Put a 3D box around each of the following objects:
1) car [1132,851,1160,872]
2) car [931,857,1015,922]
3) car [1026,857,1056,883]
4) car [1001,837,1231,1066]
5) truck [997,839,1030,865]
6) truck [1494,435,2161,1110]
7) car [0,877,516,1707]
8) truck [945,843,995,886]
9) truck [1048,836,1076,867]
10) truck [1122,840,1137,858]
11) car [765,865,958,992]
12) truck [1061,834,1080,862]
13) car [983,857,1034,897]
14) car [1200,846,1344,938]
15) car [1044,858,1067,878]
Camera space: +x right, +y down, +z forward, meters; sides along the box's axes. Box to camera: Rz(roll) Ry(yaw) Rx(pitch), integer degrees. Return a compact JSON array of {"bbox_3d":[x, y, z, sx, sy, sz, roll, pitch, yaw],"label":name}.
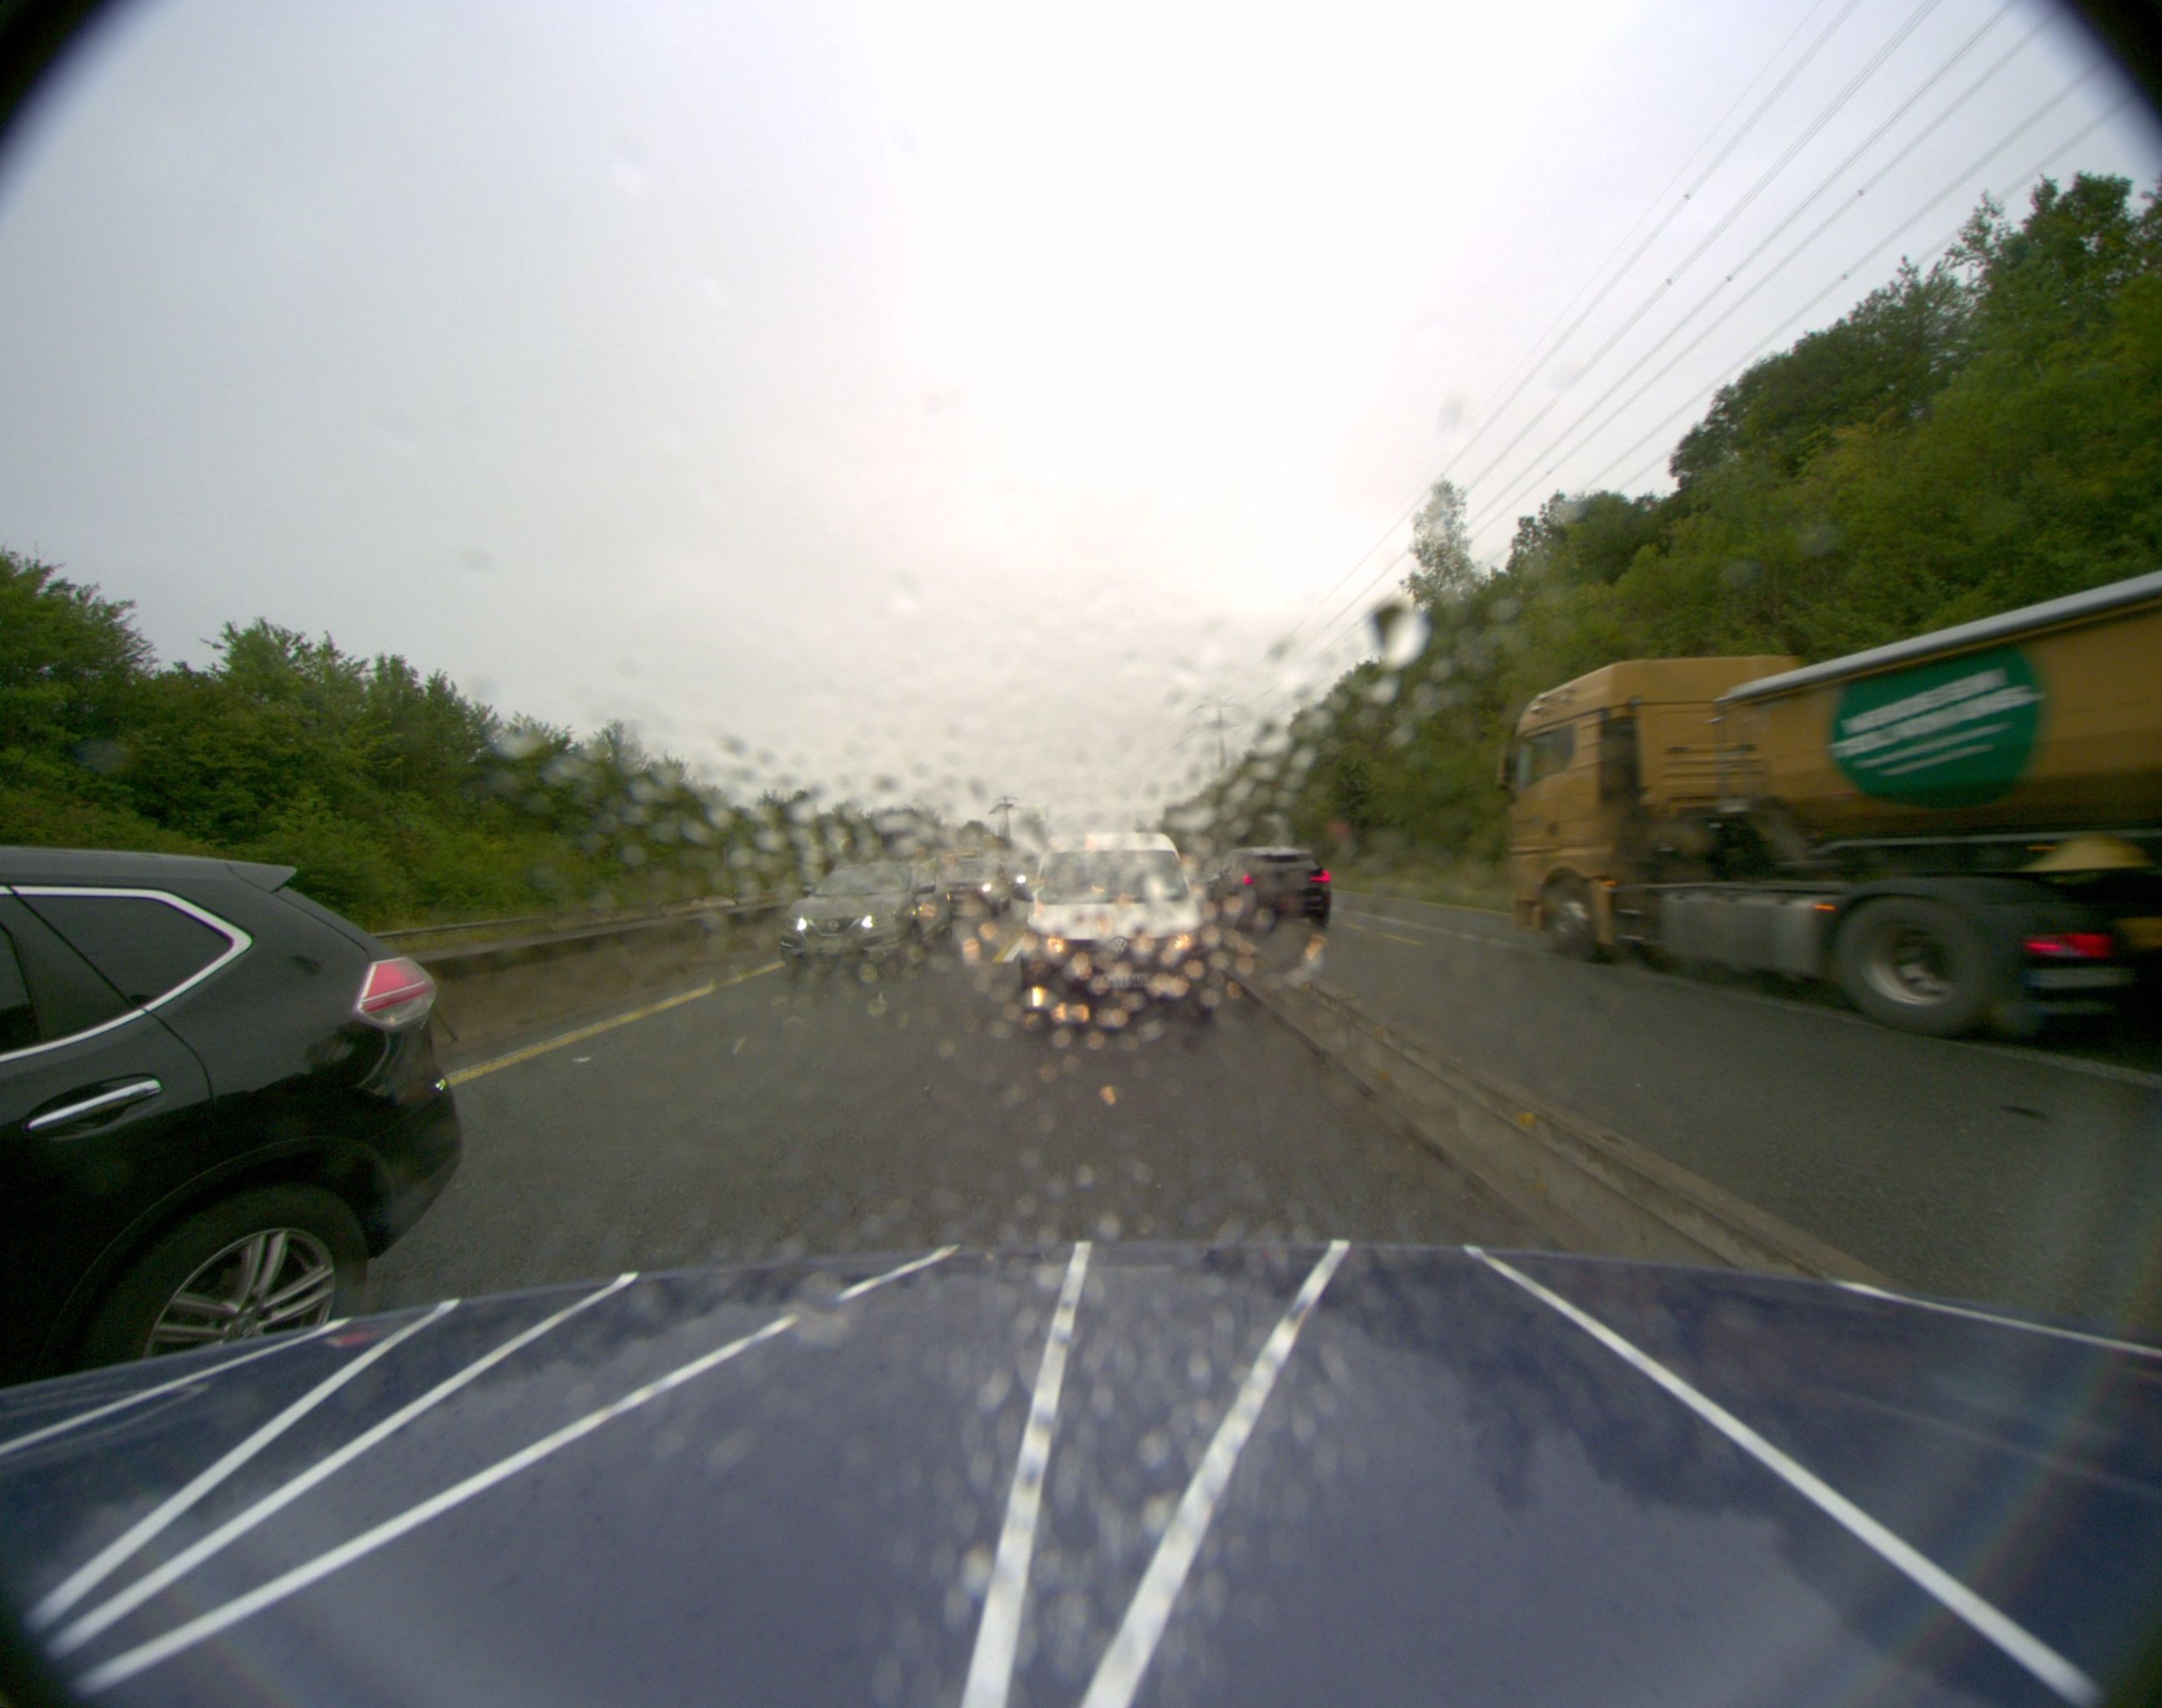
[{"bbox_3d":[4.946,0.572,58.280,1.784,1.435,4.327,-2,1,0],"label":"car"},{"bbox_3d":[-3.001,0.929,21.865,1.784,1.589,4.123,-2,1,0],"label":"car"},{"bbox_3d":[-2.597,1.024,50.211,1.784,1.482,4.123,-2,1,0],"label":"car"},{"bbox_3d":[0.270,0.761,8.439,1.784,1.775,4.697,-2,1,0],"label":"car"},{"bbox_3d":[-9.315,-0.289,106.514,3.329,3.404,9.575,-2,1,2],"label":"truck"},{"bbox_3d":[7.182,-0.476,4.687,2.688,3.635,12.310,-2,1,1],"label":"truck"},{"bbox_3d":[-3.134,0.976,0.571,1.894,1.665,4.640,-2,1,0],"label":"car"},{"bbox_3d":[-9.653,0.788,67.163,2.619,3.404,9.575,-2,1,2],"label":"truck"},{"bbox_3d":[-2.174,-0.349,90.093,2.619,3.404,9.575,-2,1,2],"label":"truck"},{"bbox_3d":[9.898,-1.074,156.388,2.541,3.333,12.049,-2,1,1],"label":"truck"},{"bbox_3d":[-3.173,0.990,11.909,1.784,1.482,4.123,-2,1,0],"label":"car"},{"bbox_3d":[-1.481,-0.872,111.820,2.619,3.869,9.574,-2,1,0],"label":"truck"},{"bbox_3d":[-3.041,0.945,32.716,1.784,1.482,4.123,-2,1,0],"label":"car"},{"bbox_3d":[3.765,0.665,15.746,1.940,1.598,4.119,-2,1,1],"label":"car"},{"bbox_3d":[-2.129,1.187,64.928,1.784,1.482,4.123,-2,1,0],"label":"car"}]
